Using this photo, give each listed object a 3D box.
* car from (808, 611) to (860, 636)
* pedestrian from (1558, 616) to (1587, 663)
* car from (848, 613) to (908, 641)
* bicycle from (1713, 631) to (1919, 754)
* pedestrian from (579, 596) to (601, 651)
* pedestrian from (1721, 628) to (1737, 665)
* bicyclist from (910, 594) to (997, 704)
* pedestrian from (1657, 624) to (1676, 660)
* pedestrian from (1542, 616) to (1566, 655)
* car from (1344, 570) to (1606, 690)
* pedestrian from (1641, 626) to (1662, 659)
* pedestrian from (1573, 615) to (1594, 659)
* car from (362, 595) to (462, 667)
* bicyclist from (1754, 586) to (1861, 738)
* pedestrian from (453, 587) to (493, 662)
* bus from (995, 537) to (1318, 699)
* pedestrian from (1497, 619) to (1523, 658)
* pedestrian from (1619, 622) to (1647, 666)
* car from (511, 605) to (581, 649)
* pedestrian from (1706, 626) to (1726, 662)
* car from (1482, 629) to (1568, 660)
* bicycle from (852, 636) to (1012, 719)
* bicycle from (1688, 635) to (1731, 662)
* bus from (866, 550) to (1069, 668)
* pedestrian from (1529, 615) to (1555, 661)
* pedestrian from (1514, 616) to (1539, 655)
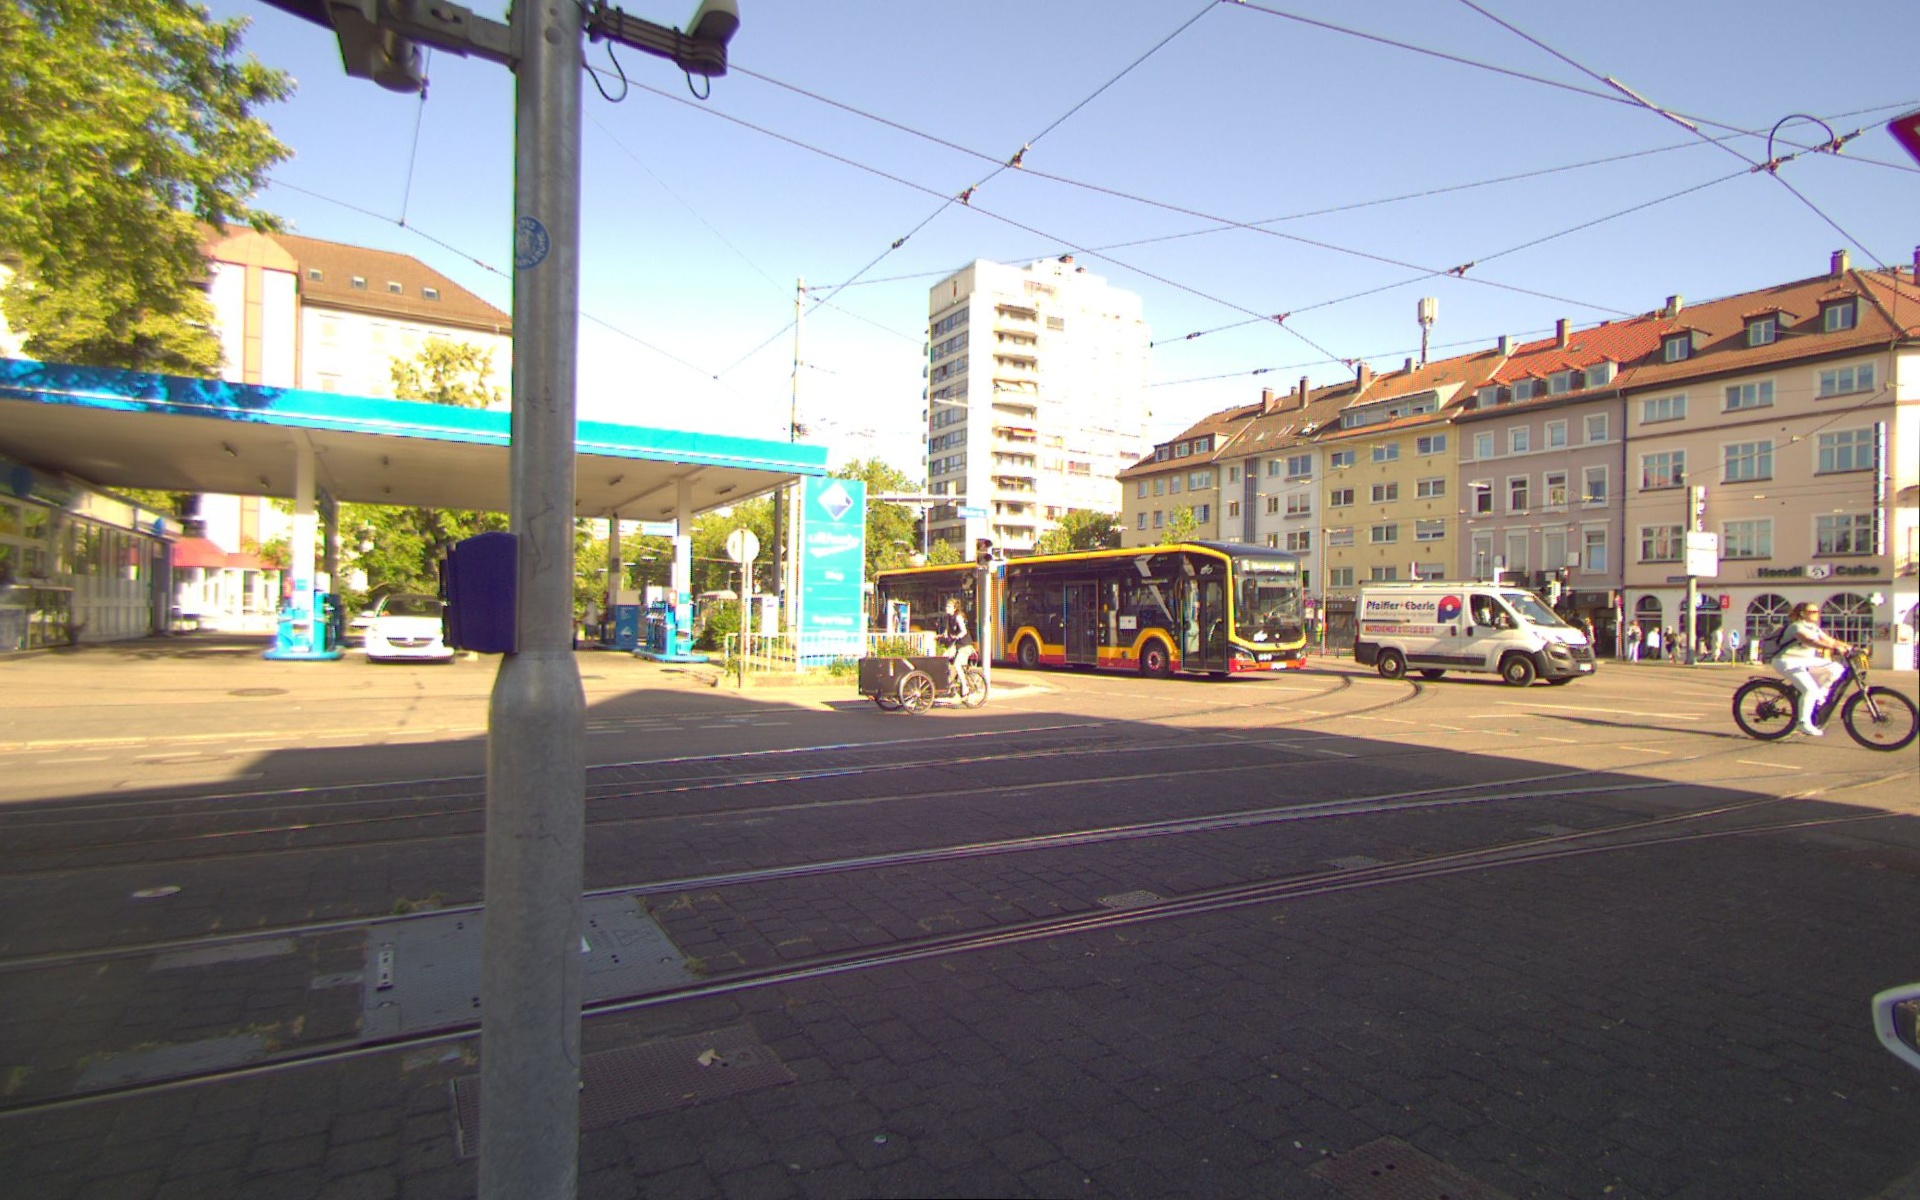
[{"bbox_3d":[-7.621,1.398,60.316,1.697,1.439,4.149,1,-1,-28],"label":"car"},{"bbox_3d":[24.760,1.595,40.598,0.714,1.853,0.763,1,-1,-30],"label":"pedestrian"},{"bbox_3d":[-4.494,1.445,54.306,1.697,1.439,4.149,1,-1,-28],"label":"car"},{"bbox_3d":[10.150,1.030,11.857,0.616,1.316,1.931,1,-1,-31],"label":"bicycle"},{"bbox_3d":[-11.841,0.747,32.108,0.579,1.715,0.756,1,-1,-25],"label":"pedestrian"},{"bbox_3d":[26.913,1.631,35.174,0.447,1.270,0.361,1,-1,-41],"label":"pedestrian"},{"bbox_3d":[-0.098,0.743,15.746,0.921,1.659,1.023,0,-1,41],"label":"bicyclist"},{"bbox_3d":[33.894,2.026,48.176,0.731,1.704,0.626,0,-1,35],"label":"pedestrian"},{"bbox_3d":[25.026,1.495,42.341,0.554,1.602,0.694,1,-1,-35],"label":"pedestrian"},{"bbox_3d":[11.785,0.668,23.347,2.060,2.465,5.077,2,-1,-35],"label":"car"},{"bbox_3d":[35.898,2.214,52.137,0.732,1.704,0.625,1,-1,-22],"label":"pedestrian"},{"bbox_3d":[25.548,1.506,41.137,0.554,1.810,0.556,1,-1,-35],"label":"pedestrian"},{"bbox_3d":[-12.367,0.667,22.558,1.793,1.461,3.966,1,-1,-31],"label":"car"},{"bbox_3d":[10.113,0.714,11.995,0.725,1.737,0.794,1,0,-31],"label":"bicyclist"},{"bbox_3d":[-11.470,0.574,23.672,0.753,1.715,0.581,1,-1,-34],"label":"pedestrian"},{"bbox_3d":[4.655,0.334,26.522,2.749,3.504,9.360,0,1,-32],"label":"bus"},{"bbox_3d":[24.173,1.681,44.150,0.621,1.704,0.763,1,-1,-30],"label":"pedestrian"},{"bbox_3d":[26.649,1.734,39.779,0.621,1.704,0.737,1,-1,-30],"label":"pedestrian"},{"bbox_3d":[-13.587,0.854,32.879,1.697,1.360,3.970,1,-1,-28],"label":"car"},{"bbox_3d":[36.737,2.114,48.815,0.731,1.704,0.626,0,-1,35],"label":"pedestrian"},{"bbox_3d":[30.736,2.401,54.776,1.795,1.511,3.715,2,0,-27],"label":"car"},{"bbox_3d":[-0.382,1.130,15.323,1.044,1.116,2.507,0,-1,40],"label":"bicycle"},{"bbox_3d":[37.643,2.429,50.466,1.693,1.293,0.385,0,-1,44],"label":"bicycle"},{"bbox_3d":[-0.026,0.223,34.135,2.756,3.504,8.566,0,1,-32],"label":"bus"},{"bbox_3d":[24.036,1.555,41.479,0.769,1.874,0.625,1,-1,-30],"label":"pedestrian"},{"bbox_3d":[23.833,1.489,42.286,0.565,1.657,0.737,1,-1,-30],"label":"pedestrian"}]
